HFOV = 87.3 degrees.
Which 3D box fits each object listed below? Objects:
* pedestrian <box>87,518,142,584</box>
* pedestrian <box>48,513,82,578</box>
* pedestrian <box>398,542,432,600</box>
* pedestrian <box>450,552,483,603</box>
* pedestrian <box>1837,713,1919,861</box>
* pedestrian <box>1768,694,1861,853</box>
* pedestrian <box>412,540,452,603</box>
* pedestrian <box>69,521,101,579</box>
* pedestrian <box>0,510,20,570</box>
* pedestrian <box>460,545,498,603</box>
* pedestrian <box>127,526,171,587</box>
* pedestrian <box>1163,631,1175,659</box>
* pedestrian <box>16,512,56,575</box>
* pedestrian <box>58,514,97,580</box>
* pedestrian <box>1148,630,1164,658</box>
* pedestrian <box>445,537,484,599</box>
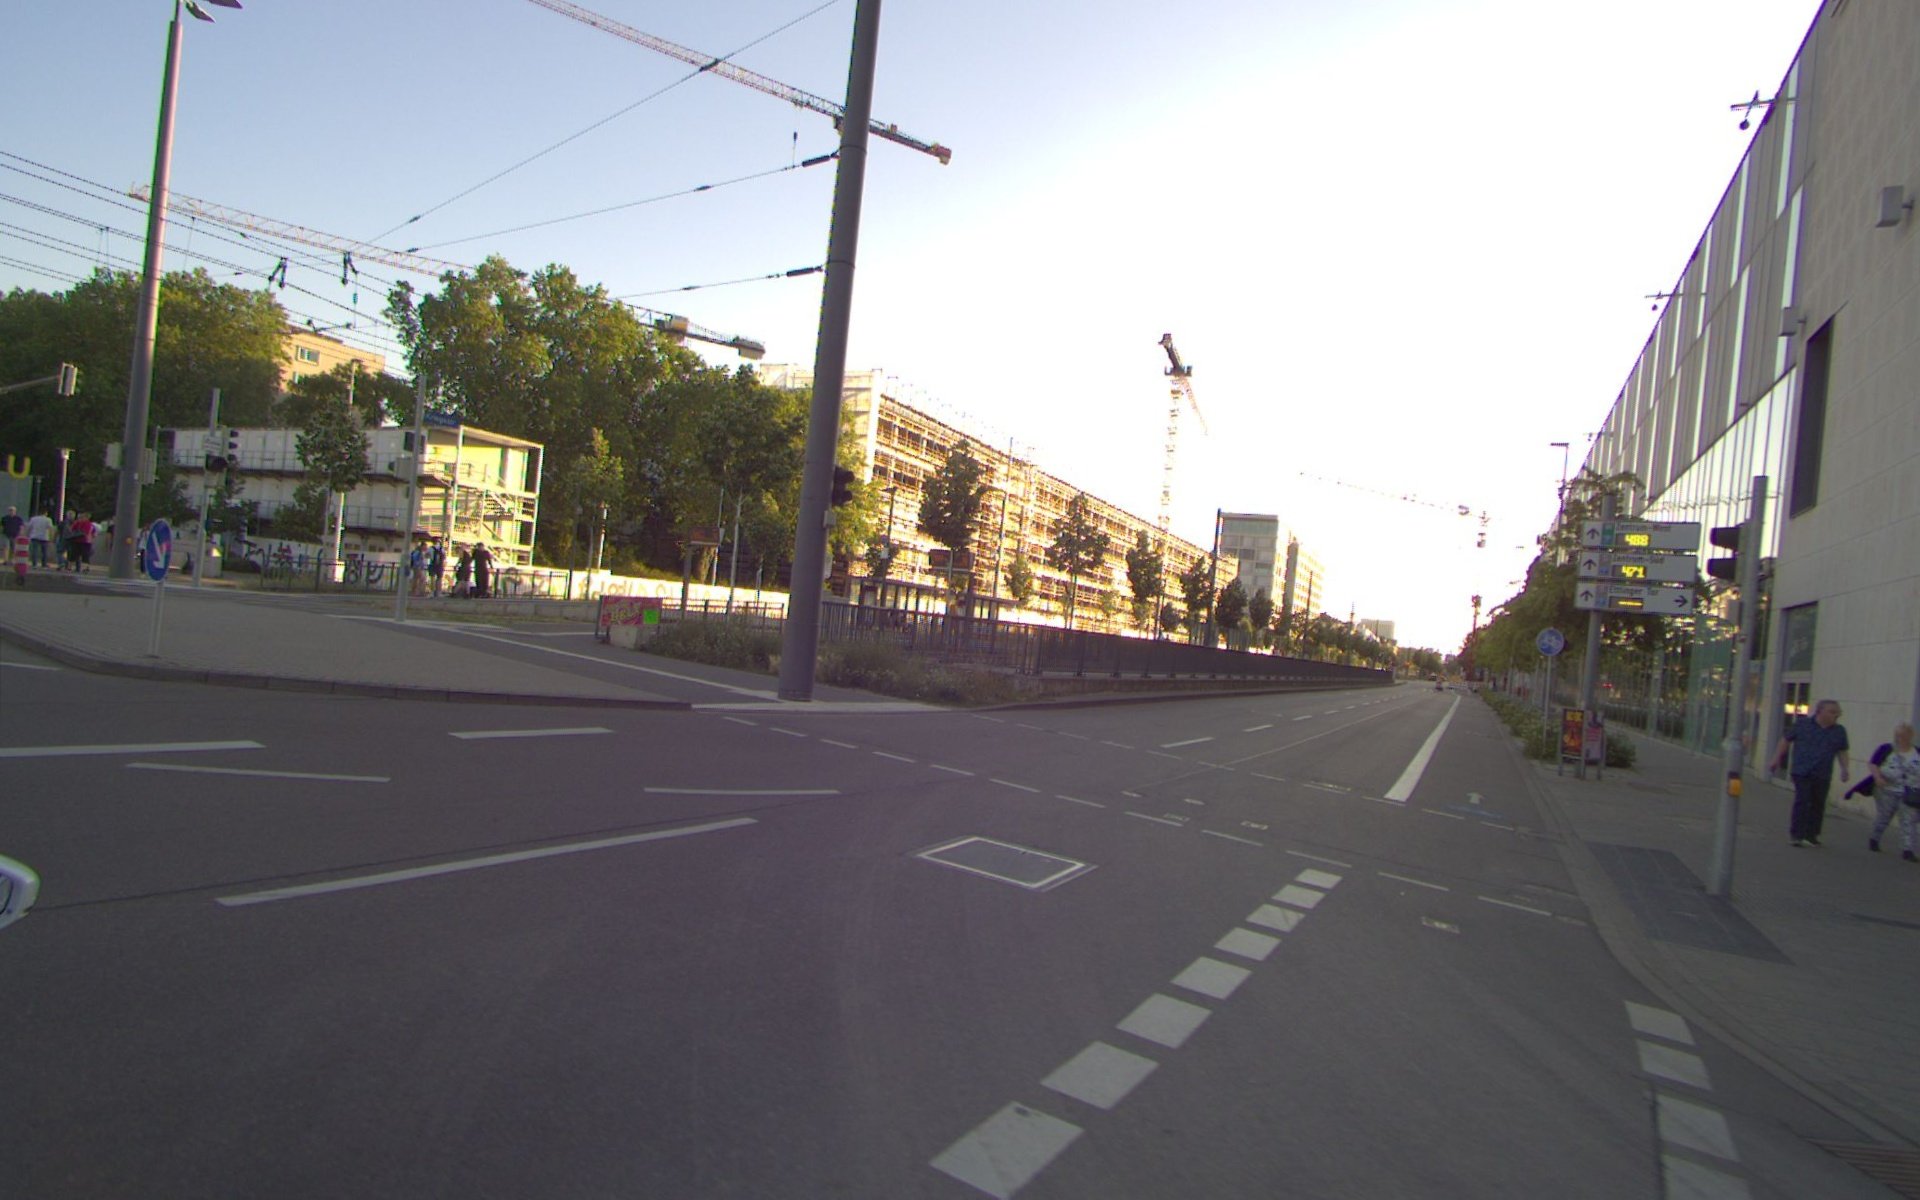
[{"bbox_3d":[-25.032,-1.447,29.801,0.785,1.813,0.808,6,0,12],"label":"pedestrian"},{"bbox_3d":[-25.924,-1.573,29.129,0.570,1.813,0.631,6,0,-45],"label":"pedestrian"},{"bbox_3d":[-16.135,-0.856,29.801,0.527,1.612,0.571,6,0,31],"label":"pedestrian"},{"bbox_3d":[-15.038,-0.679,30.654,0.672,1.458,0.707,6,0,-36],"label":"pedestrian"},{"bbox_3d":[10.814,2.150,11.618,0.712,1.565,0.668,6,0,19],"label":"pedestrian"},{"bbox_3d":[10.079,2.019,11.886,0.579,1.746,0.668,3,-1,19],"label":"pedestrian"},{"bbox_3d":[-15.307,-0.823,29.184,0.660,1.746,0.709,6,0,44],"label":"pedestrian"},{"bbox_3d":[-26.682,-1.523,30.674,0.570,1.699,0.631,6,0,-45],"label":"pedestrian"},{"bbox_3d":[-29.305,-1.849,30.718,0.676,1.779,0.893,6,0,-38],"label":"pedestrian"},{"bbox_3d":[-15.370,-0.838,32.161,0.657,1.746,0.712,6,0,29],"label":"pedestrian"},{"bbox_3d":[-25.605,-1.372,31.771,0.789,1.813,0.804,6,0,39],"label":"pedestrian"},{"bbox_3d":[12.994,2.818,62.521,0.396,1.690,0.448,6,0,37],"label":"pedestrian"},{"bbox_3d":[-26.997,-1.652,29.395,0.708,1.746,0.904,6,0,-42],"label":"pedestrian"},{"bbox_3d":[-25.031,-1.506,28.536,0.700,1.756,0.837,6,0,-42],"label":"pedestrian"},{"bbox_3d":[12.280,2.768,63.006,0.657,1.690,0.574,6,0,37],"label":"pedestrian"},{"bbox_3d":[-14.715,-0.947,29.874,0.659,1.746,0.709,6,0,43],"label":"pedestrian"}]
